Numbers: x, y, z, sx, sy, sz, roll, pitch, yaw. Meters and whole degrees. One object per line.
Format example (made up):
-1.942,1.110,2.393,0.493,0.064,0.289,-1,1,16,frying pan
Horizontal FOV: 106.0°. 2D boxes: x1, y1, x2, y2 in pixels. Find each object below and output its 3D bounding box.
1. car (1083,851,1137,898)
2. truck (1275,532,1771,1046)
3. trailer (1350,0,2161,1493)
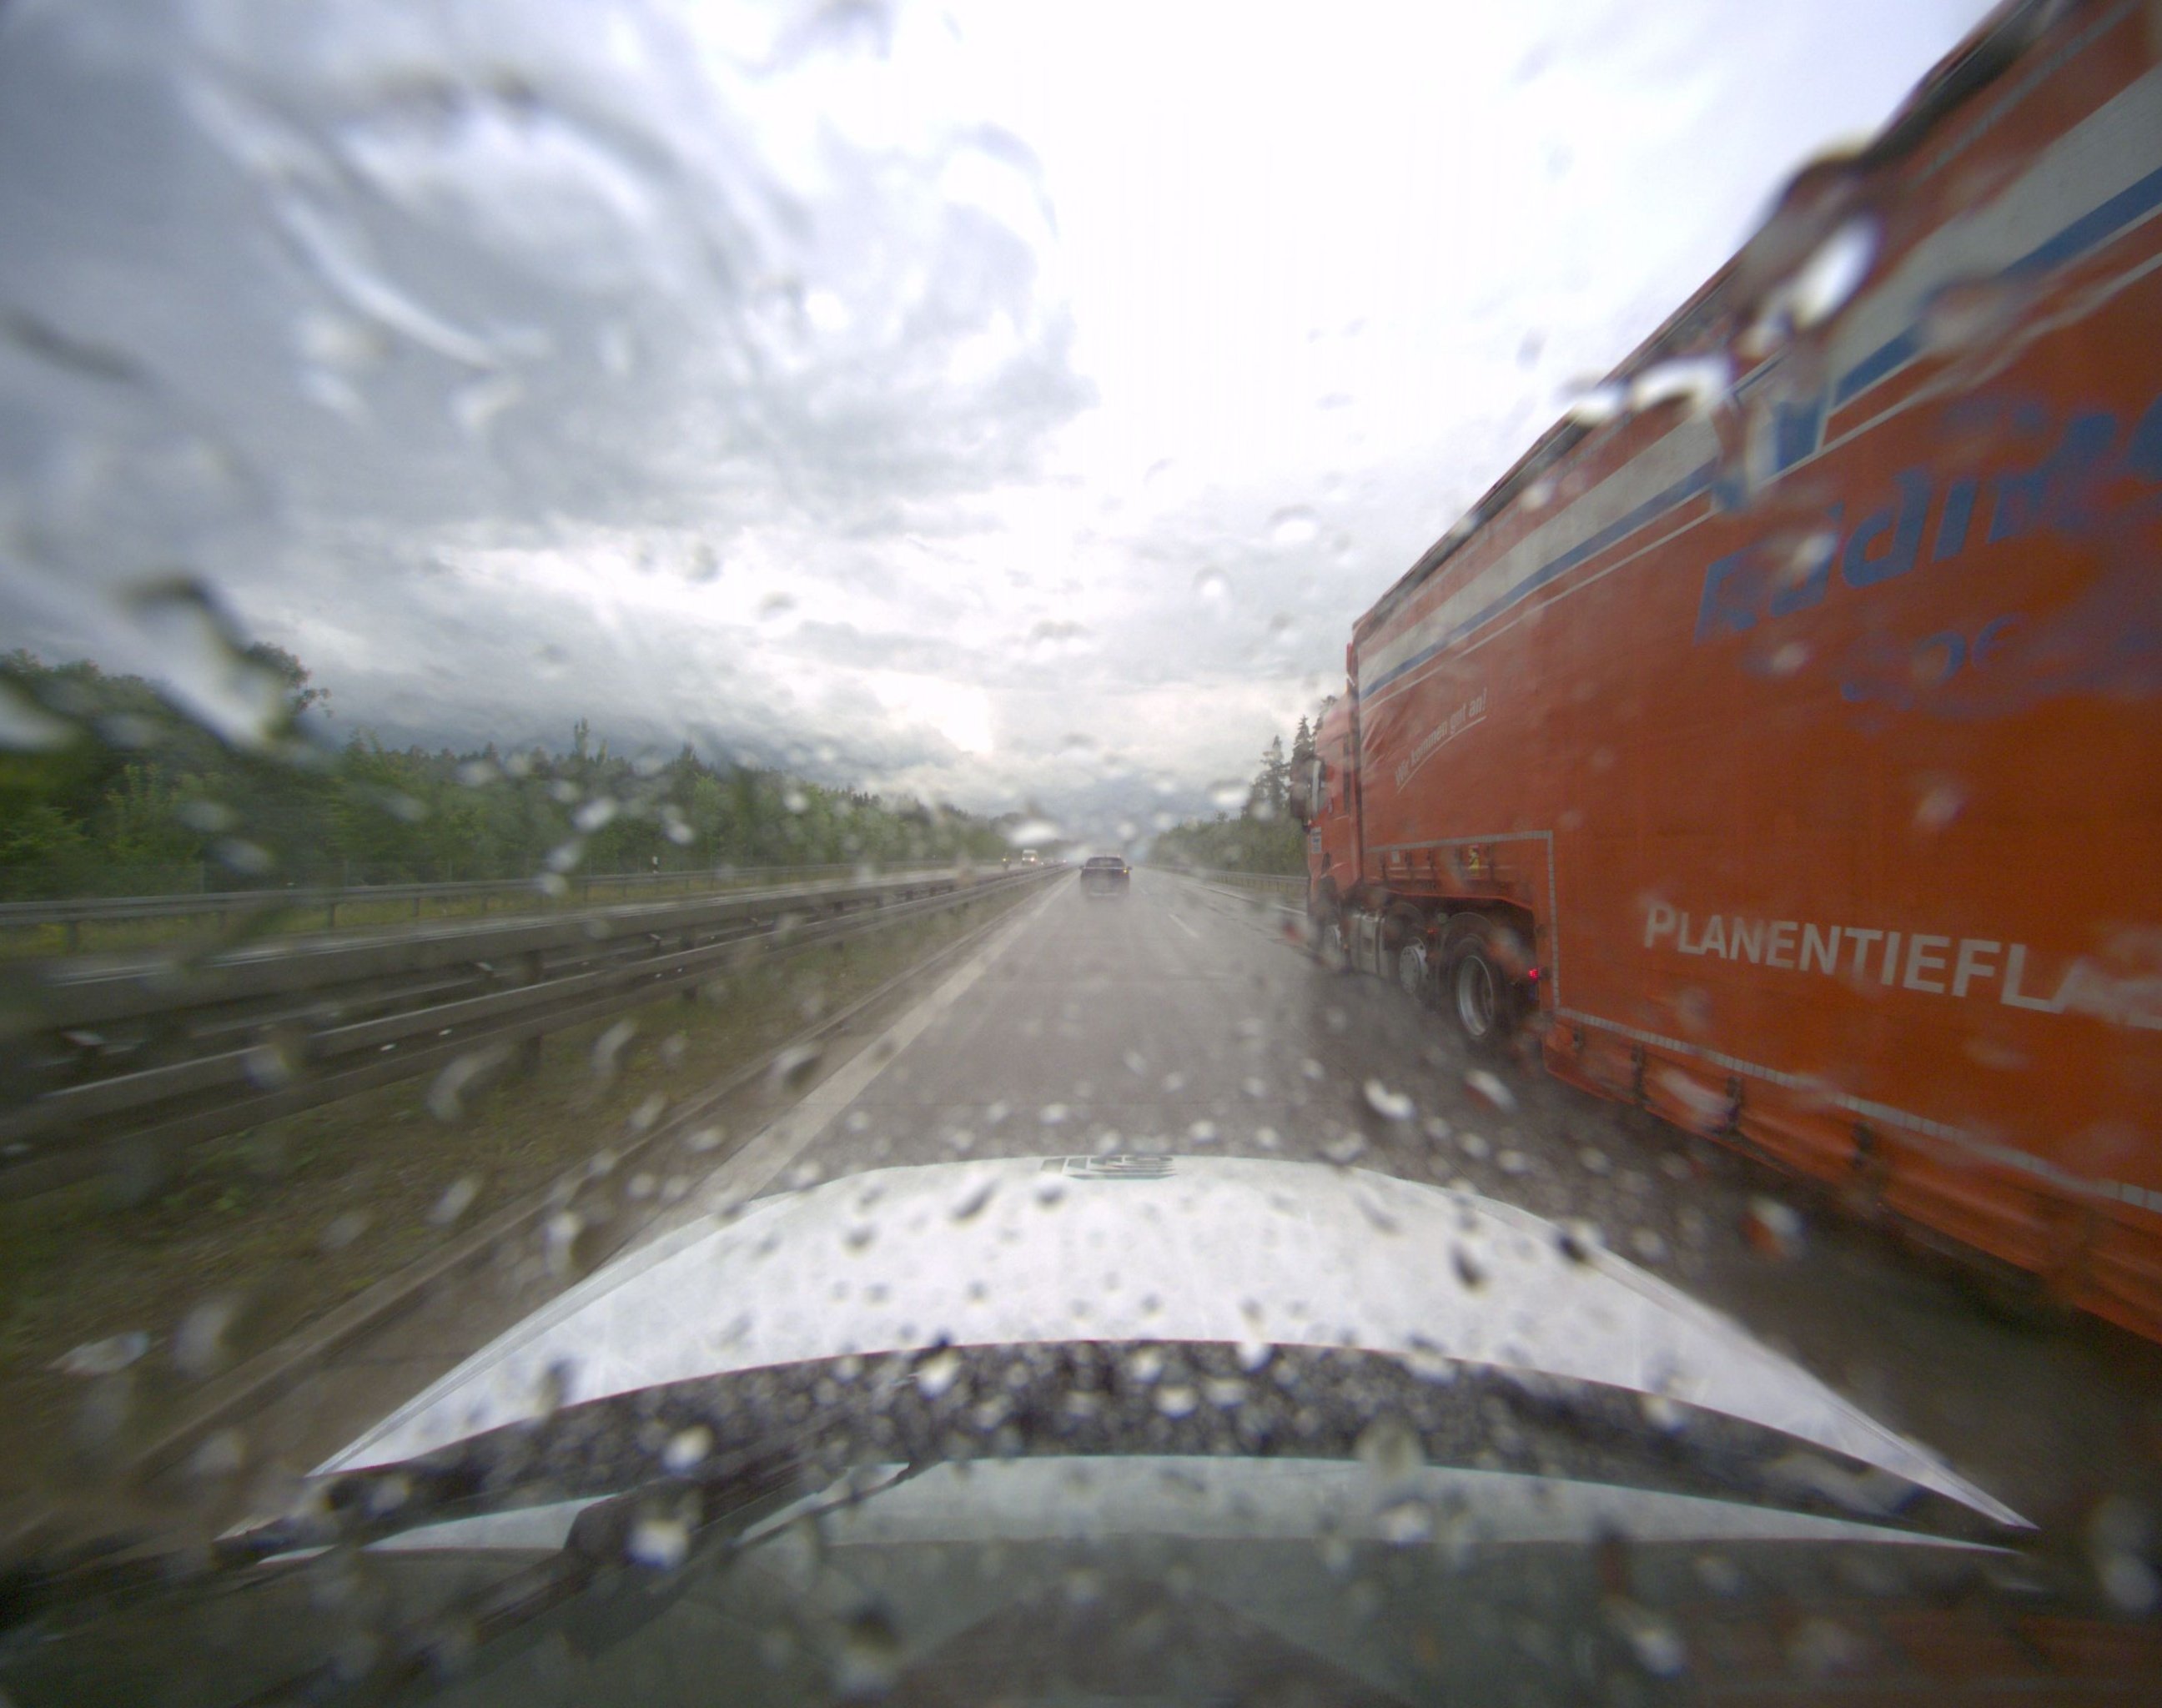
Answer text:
1.045,0.791,30.707,1.888,1.576,3.631,2,-2,0,car
4.164,-0.503,9.224,2.749,4.088,5.439,0,-1,1,truck
3.941,-0.569,1.693,2.784,4.157,13.009,0,0,2,trailer
